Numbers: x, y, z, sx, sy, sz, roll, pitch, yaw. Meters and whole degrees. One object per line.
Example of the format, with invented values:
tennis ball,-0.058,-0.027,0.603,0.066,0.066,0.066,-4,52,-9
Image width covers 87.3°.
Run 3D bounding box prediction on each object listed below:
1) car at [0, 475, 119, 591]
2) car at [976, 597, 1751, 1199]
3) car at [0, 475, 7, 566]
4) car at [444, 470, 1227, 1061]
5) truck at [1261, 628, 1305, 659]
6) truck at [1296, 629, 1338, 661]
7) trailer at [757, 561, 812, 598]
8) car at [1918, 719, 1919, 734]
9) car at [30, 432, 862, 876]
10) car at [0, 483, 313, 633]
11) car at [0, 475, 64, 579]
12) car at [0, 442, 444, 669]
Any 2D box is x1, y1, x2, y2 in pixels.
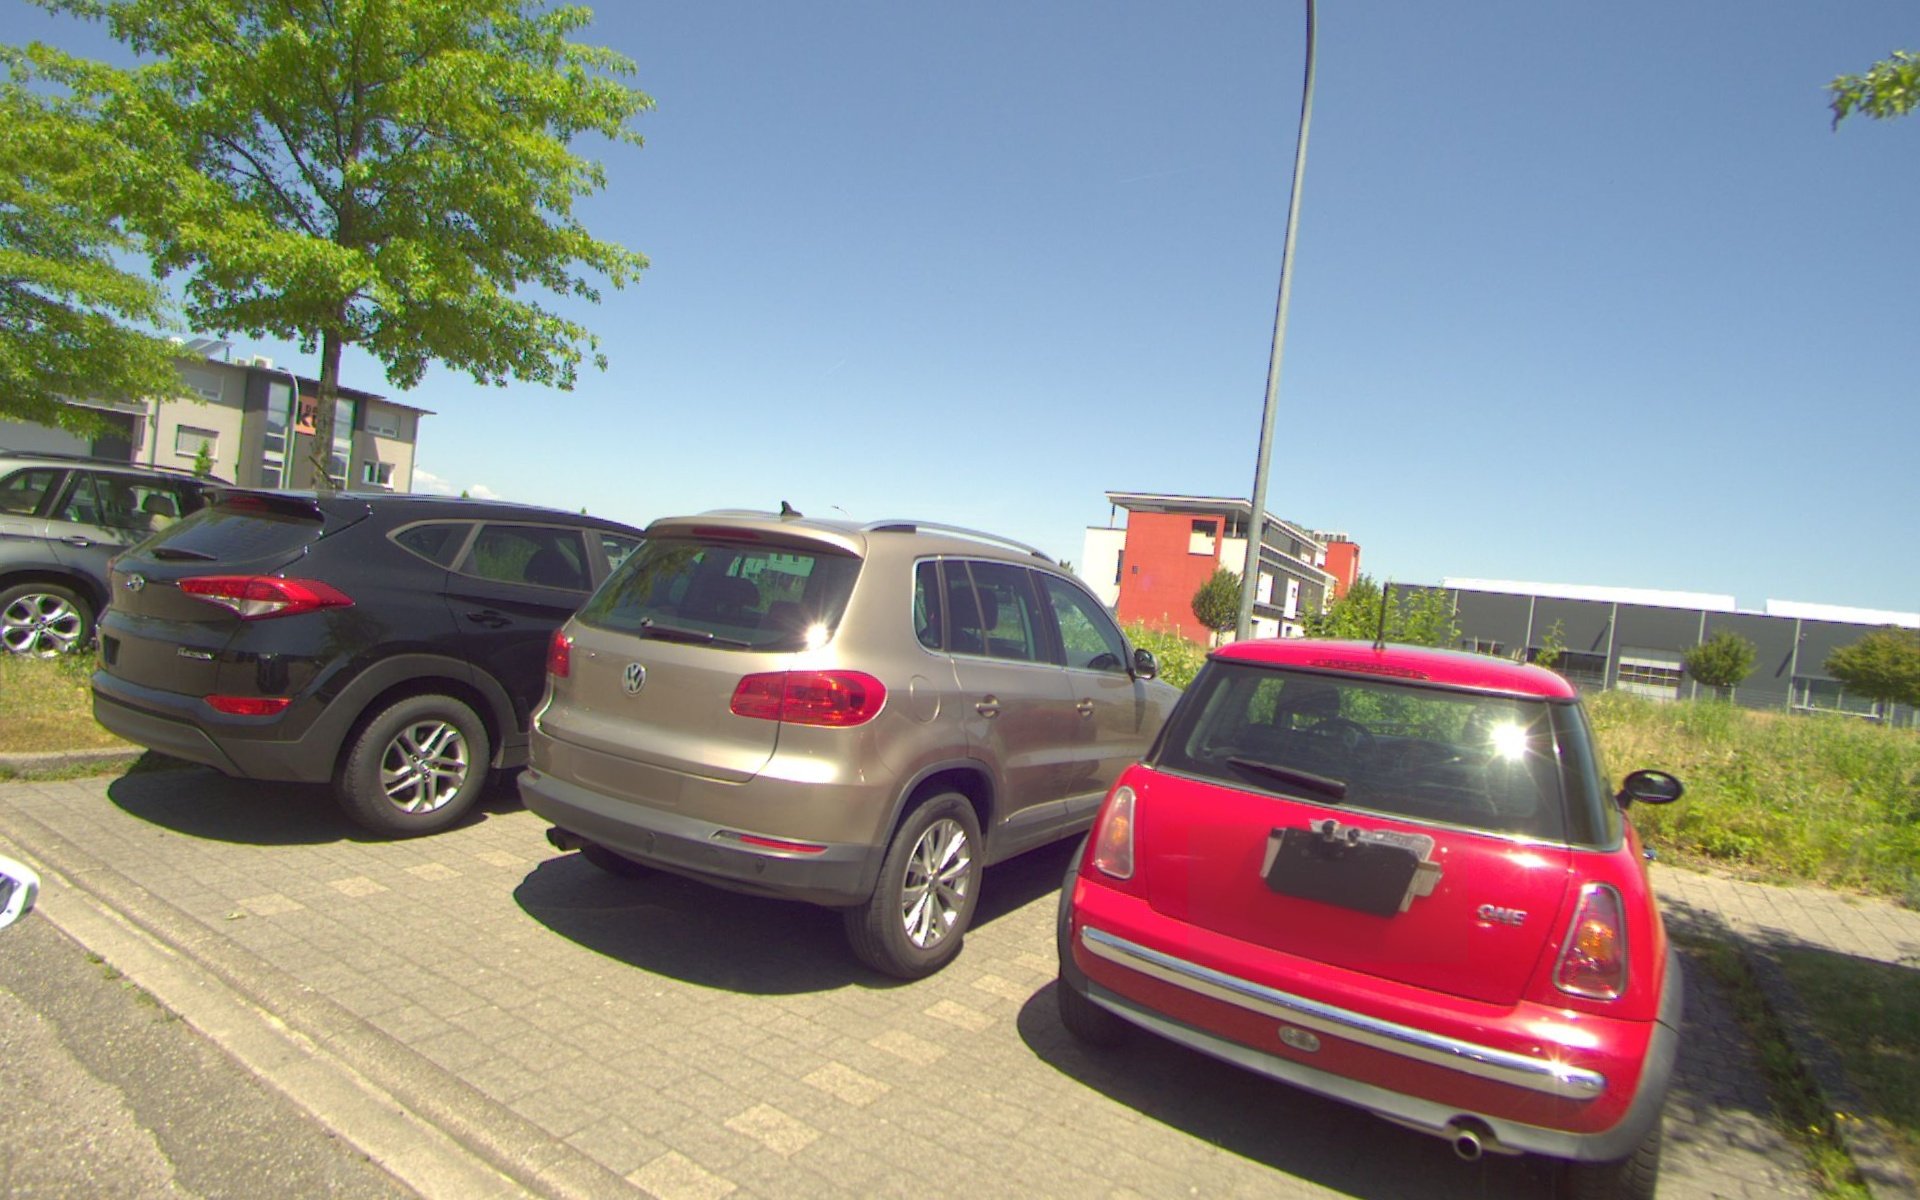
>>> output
car,-15.213,-1.121,14.710,1.870,1.628,4.069,6,1,32
car,1.736,0.854,4.062,1.725,1.435,3.459,7,2,31
car,-19.465,-1.624,17.184,1.820,1.666,4.281,7,2,32
car,-0.183,0.508,5.069,1.753,1.700,3.876,7,2,32
truck,23.982,3.262,74.551,1.966,2.039,4.346,7,1,31
truck,26.225,3.343,73.750,1.966,2.039,3.991,7,1,31
trailer,-14.509,-1.673,83.268,2.195,2.633,3.992,7,1,30
car,47.031,5.855,47.466,1.691,1.470,3.990,7,1,31
car,-2.612,0.214,6.173,1.752,1.718,4.176,7,2,31
car,-9.837,-0.469,11.221,1.878,1.427,3.925,5,0,31
car,-17.288,-1.368,16.094,1.807,1.665,3.990,7,1,31
car,-7.709,-0.396,9.672,1.959,1.791,4.453,7,2,29
